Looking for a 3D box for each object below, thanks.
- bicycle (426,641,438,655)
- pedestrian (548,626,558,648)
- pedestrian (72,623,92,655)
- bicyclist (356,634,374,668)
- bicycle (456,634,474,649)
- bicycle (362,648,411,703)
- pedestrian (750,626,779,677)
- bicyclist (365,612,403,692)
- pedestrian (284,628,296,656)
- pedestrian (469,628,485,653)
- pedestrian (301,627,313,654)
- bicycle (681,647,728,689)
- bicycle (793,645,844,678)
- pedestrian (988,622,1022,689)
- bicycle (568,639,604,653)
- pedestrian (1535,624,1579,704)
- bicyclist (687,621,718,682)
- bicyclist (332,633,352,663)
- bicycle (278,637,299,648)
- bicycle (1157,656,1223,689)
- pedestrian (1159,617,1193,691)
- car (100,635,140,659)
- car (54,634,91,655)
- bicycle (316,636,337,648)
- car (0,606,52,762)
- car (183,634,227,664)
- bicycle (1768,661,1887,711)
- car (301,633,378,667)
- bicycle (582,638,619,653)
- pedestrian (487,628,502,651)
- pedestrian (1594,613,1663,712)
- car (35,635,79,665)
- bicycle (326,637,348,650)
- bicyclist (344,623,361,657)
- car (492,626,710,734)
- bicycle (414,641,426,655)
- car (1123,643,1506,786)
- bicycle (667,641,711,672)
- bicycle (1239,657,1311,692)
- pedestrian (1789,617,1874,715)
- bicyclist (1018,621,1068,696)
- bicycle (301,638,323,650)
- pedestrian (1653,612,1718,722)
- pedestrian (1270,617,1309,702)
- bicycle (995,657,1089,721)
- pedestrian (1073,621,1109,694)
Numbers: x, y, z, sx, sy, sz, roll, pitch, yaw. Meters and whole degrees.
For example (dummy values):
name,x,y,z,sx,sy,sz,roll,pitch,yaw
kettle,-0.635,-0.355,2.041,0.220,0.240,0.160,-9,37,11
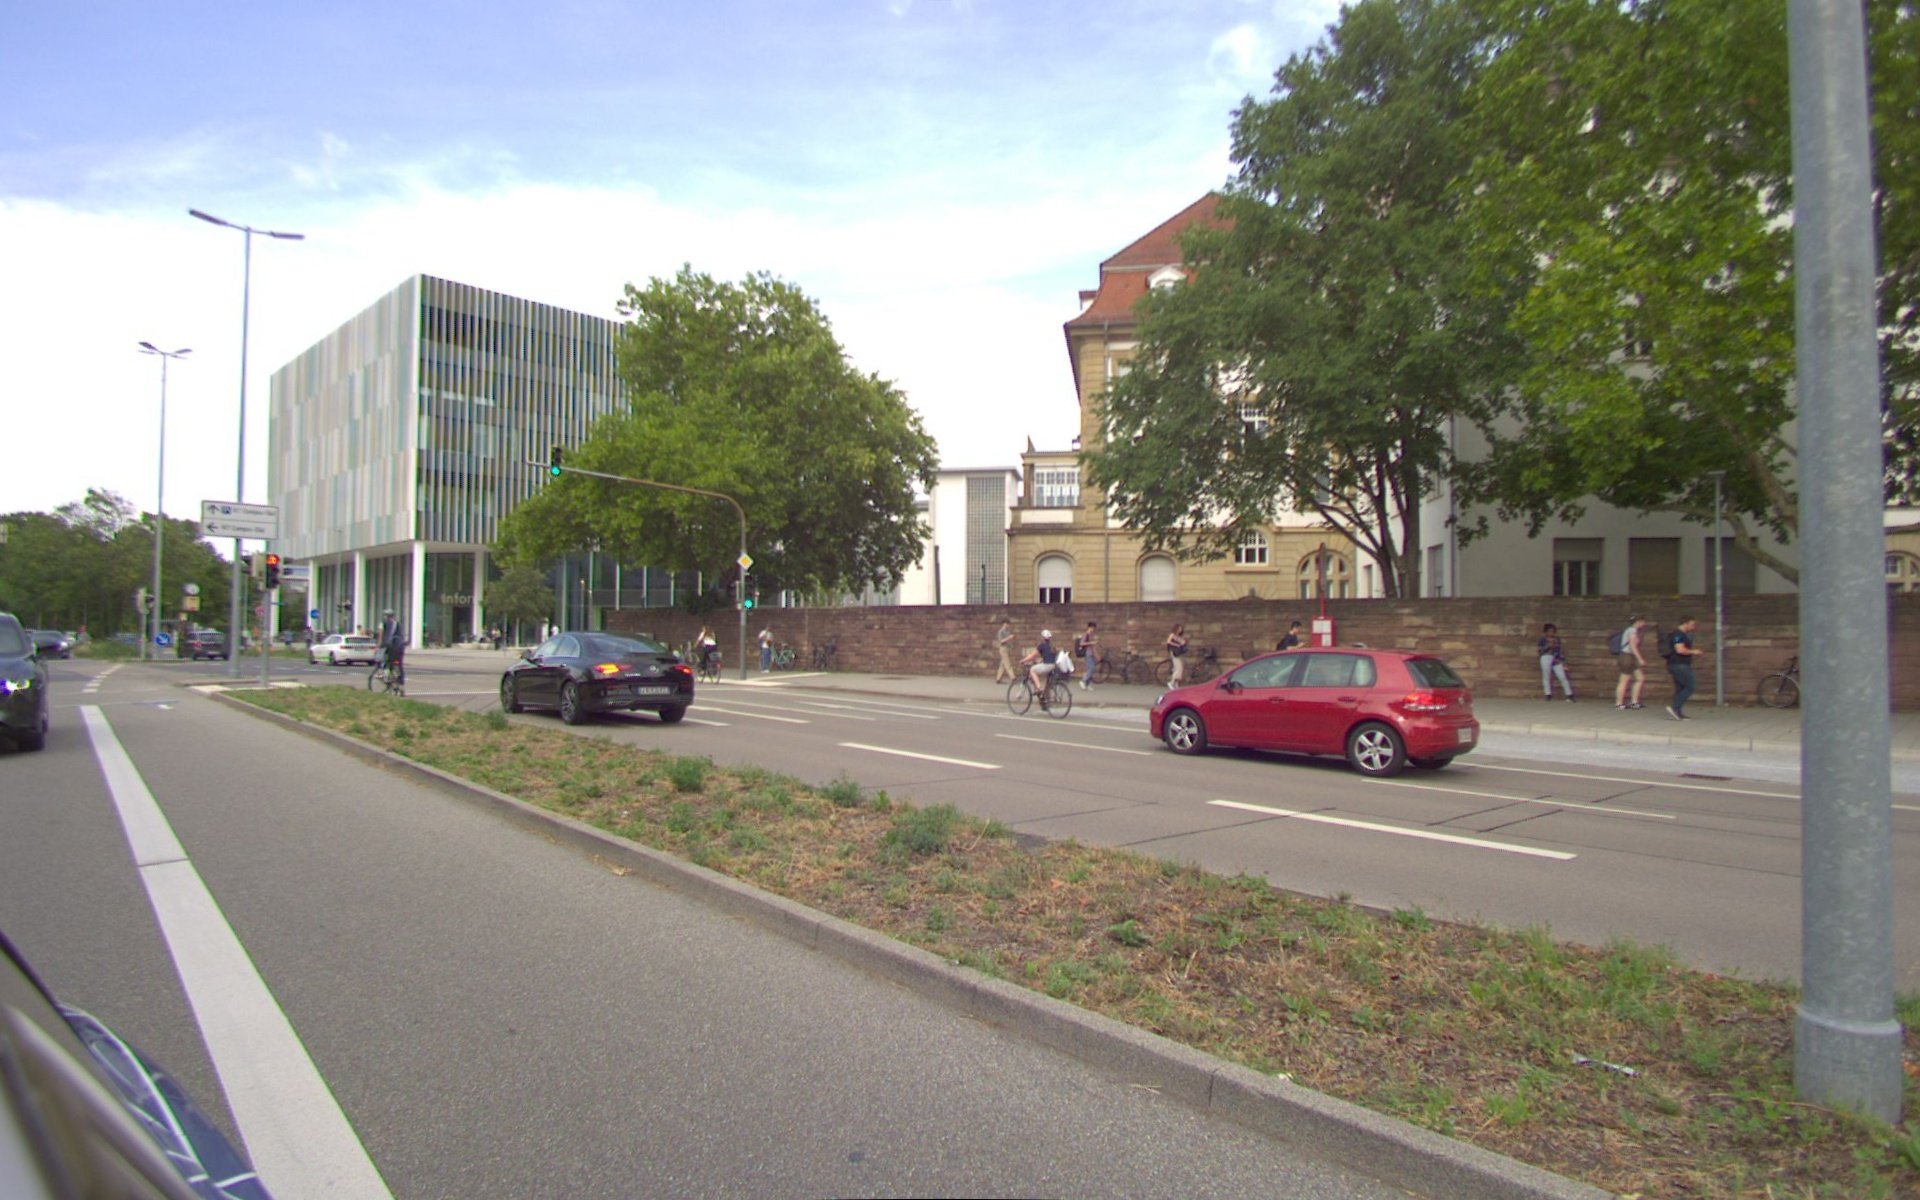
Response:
name,x,y,z,sx,sy,sz,roll,pitch,yaw
bicycle,-39.514,3.569,75.712,0.387,0.944,1.602,-1,-1,-13
pedestrian,-33.152,3.029,82.441,0.627,1.792,0.596,0,-2,-1
pedestrian,-51.076,2.269,58.843,1.064,1.867,0.717,-2,-3,42
bicyclist,-31.928,2.733,54.337,0.559,1.820,0.595,-1,-3,29
bicycle,-36.636,3.046,74.951,0.389,1.037,1.543,-1,-1,7
bicycle,-11.762,1.519,20.733,0.566,1.063,1.930,2,-3,-39
pedestrian,-6.984,1.827,36.157,0.776,1.796,0.744,1,-1,13
bicyclist,-11.776,1.057,20.687,0.565,1.586,0.700,2,-3,-39
pedestrian,-45.307,2.858,68.441,0.772,1.852,0.505,-3,-4,44
pedestrian,-33.786,2.858,70.830,0.671,1.753,0.728,0,-2,10
pedestrian,-44.738,2.792,69.308,0.624,1.852,0.505,-3,-4,43
bicycle,-7.772,2.037,30.734,0.610,1.226,2.049,2,-3,-38
bicycle,-4.888,2.096,34.841,1.979,1.066,0.543,-2,0,41
pedestrian,1.252,1.527,27.971,0.776,1.796,0.743,1,-1,15
bicycle,-27.547,3.392,74.596,0.670,1.007,2.656,-1,-3,29
pedestrian,12.442,1.317,21.109,0.731,1.604,0.583,1,-1,25
bicyclist,-7.818,1.555,30.729,0.610,1.796,0.813,2,-3,-38
bicyclist,-34.607,2.685,56.670,0.721,1.685,0.721,-1,-1,30
bicycle,-66.380,4.211,100.104,0.434,1.031,1.682,-2,-1,39
bicycle,5.954,1.883,26.296,1.618,0.803,0.436,-3,-1,38
pedestrian,5.375,1.319,25.163,0.777,1.796,0.757,1,-1,16
car,-58.509,3.243,70.466,4.106,1.523,1.781,0,-2,45
car,-66.253,3.316,75.513,4.290,1.500,1.781,-2,-3,45
bicycle,-57.049,3.809,91.123,0.389,1.031,1.561,-2,-1,39
car,-12.274,0.970,12.112,1.878,1.661,4.648,-1,-1,-45
car,-39.936,2.572,53.507,1.552,1.500,3.641,3,-3,-41
bicycle,16.182,1.590,18.912,1.614,0.834,0.438,-1,0,30
car,-28.882,2.313,47.087,4.413,1.500,1.783,-2,-3,41
bicycle,-25.814,3.276,72.799,0.794,1.098,2.656,-1,-3,29
pedestrian,-32.551,2.774,70.748,0.672,1.612,0.727,-1,-2,13
pedestrian,12.648,1.163,19.183,0.907,1.796,0.756,1,-1,19
car,-47.296,2.594,53.059,1.636,1.475,4.006,0,-1,-41
bicycle,-53.809,3.729,87.467,0.389,1.031,1.561,-2,-1,39
bicyclist,-33.188,2.178,55.257,0.560,1.820,0.595,-1,-1,30
car,-5.924,1.197,16.398,1.780,1.500,4.411,2,-3,-42
bicycle,-40.425,3.576,75.787,0.387,0.944,1.602,-1,-1,-13
car,4.390,1.313,12.993,4.290,1.500,1.781,-2,-3,44
bicycle,-10.596,2.205,39.566,2.165,1.134,0.571,-2,0,43
bicycle,7.724,1.830,24.888,1.618,0.803,0.436,-3,-1,38
pedestrian,15.475,1.147,18.003,0.917,1.684,0.756,1,-1,19
bicyclist,1.630,1.129,19.864,0.573,1.430,0.811,2,-3,-45
bicycle,-59.585,4.043,93.073,0.389,1.031,1.561,-1,-4,39
pedestrian,12.281,1.135,17.157,0.717,1.796,0.755,1,-6,23
pedestrian,7.182,1.273,22.046,0.777,1.796,0.756,1,-1,19
bicycle,1.594,1.726,19.986,0.575,1.179,1.965,2,-3,-44
pedestrian,3.298,1.434,25.458,0.777,1.796,0.757,1,-1,17
